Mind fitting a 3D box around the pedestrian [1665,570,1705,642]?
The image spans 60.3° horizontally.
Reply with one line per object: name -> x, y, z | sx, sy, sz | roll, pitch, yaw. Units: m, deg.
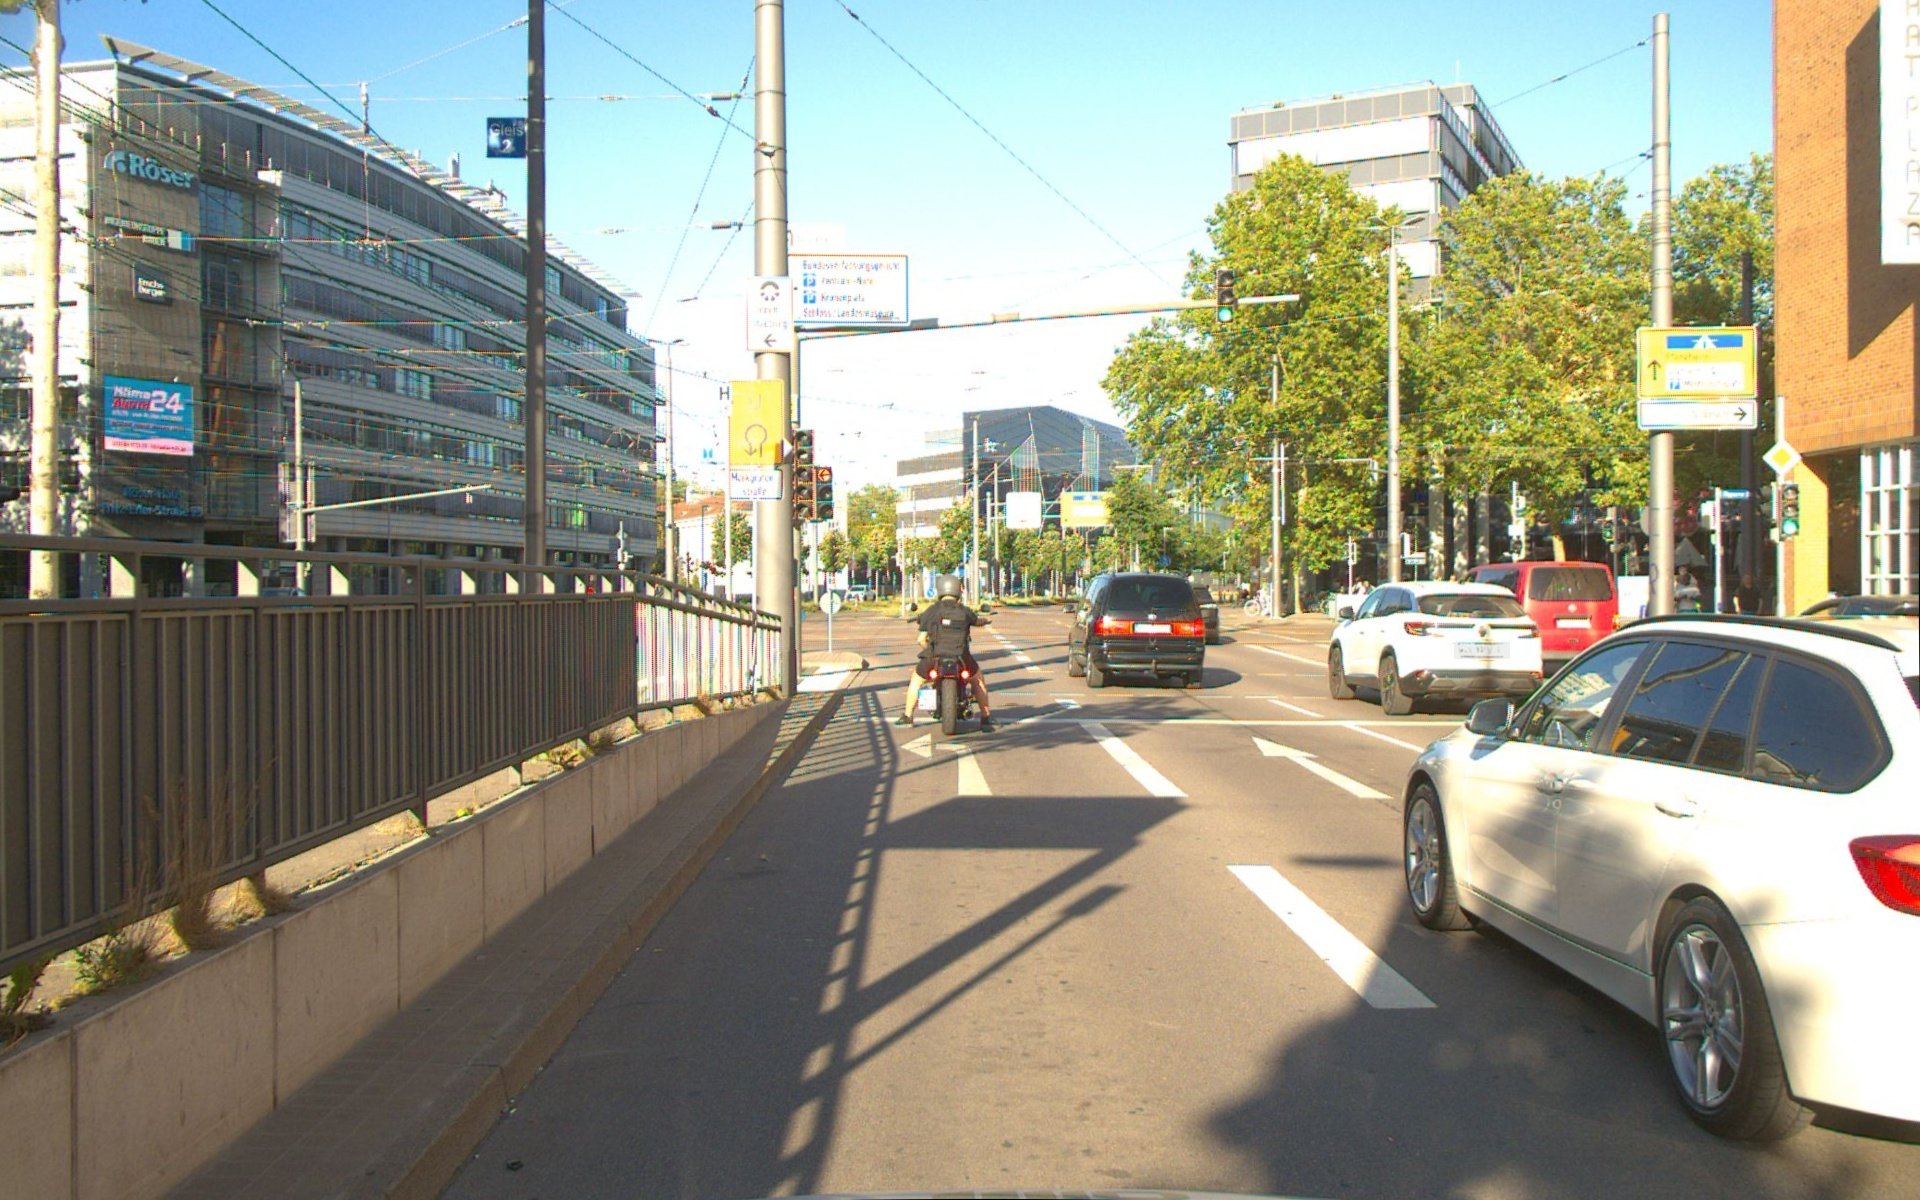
pedestrian -> 17.238, 0.137, 39.332 | 0.670, 1.690, 0.519 | 1, 0, -1

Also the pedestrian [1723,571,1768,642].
pedestrian -> 19.116, 0.158, 40.248 | 0.809, 1.690, 0.519 | 1, 0, -1

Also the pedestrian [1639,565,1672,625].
pedestrian -> 19.887, -0.144, 47.277 | 0.683, 1.690, 0.519 | 1, 0, -1

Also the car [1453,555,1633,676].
car -> 10.278, 0.236, 29.472 | 1.822, 1.995, 4.000 | -1, 0, 1

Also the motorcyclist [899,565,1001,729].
motorcyclist -> -0.105, 0.470, 17.267 | 0.998, 1.631, 1.148 | 1, 0, -1

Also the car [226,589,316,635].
car -> -23.944, 0.390, 57.641 | 1.956, 1.489, 3.993 | 0, 1, -8

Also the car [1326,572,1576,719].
car -> 6.089, 0.493, 21.053 | 1.813, 1.668, 4.378 | 0, 1, -1

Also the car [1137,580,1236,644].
car -> 5.604, 0.261, 41.419 | 1.813, 1.524, 4.378 | 0, 1, -1

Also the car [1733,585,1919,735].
car -> 10.893, 0.616, 19.476 | 1.633, 1.557, 3.999 | -1, 0, -1

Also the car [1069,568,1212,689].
car -> 2.731, 0.389, 25.821 | 1.761, 1.735, 4.062 | 0, 0, 0

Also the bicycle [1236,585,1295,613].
bicycle -> 14.259, -0.037, 77.262 | 2.635, 1.266, 0.528 | 0, 0, 22

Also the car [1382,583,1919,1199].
car -> 2.926, 0.728, 5.897 | 1.658, 1.523, 4.408 | 1, 0, 0

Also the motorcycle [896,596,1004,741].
motorcycle -> -0.103, 0.648, 17.184 | 0.998, 1.335, 2.914 | 1, 0, 0
